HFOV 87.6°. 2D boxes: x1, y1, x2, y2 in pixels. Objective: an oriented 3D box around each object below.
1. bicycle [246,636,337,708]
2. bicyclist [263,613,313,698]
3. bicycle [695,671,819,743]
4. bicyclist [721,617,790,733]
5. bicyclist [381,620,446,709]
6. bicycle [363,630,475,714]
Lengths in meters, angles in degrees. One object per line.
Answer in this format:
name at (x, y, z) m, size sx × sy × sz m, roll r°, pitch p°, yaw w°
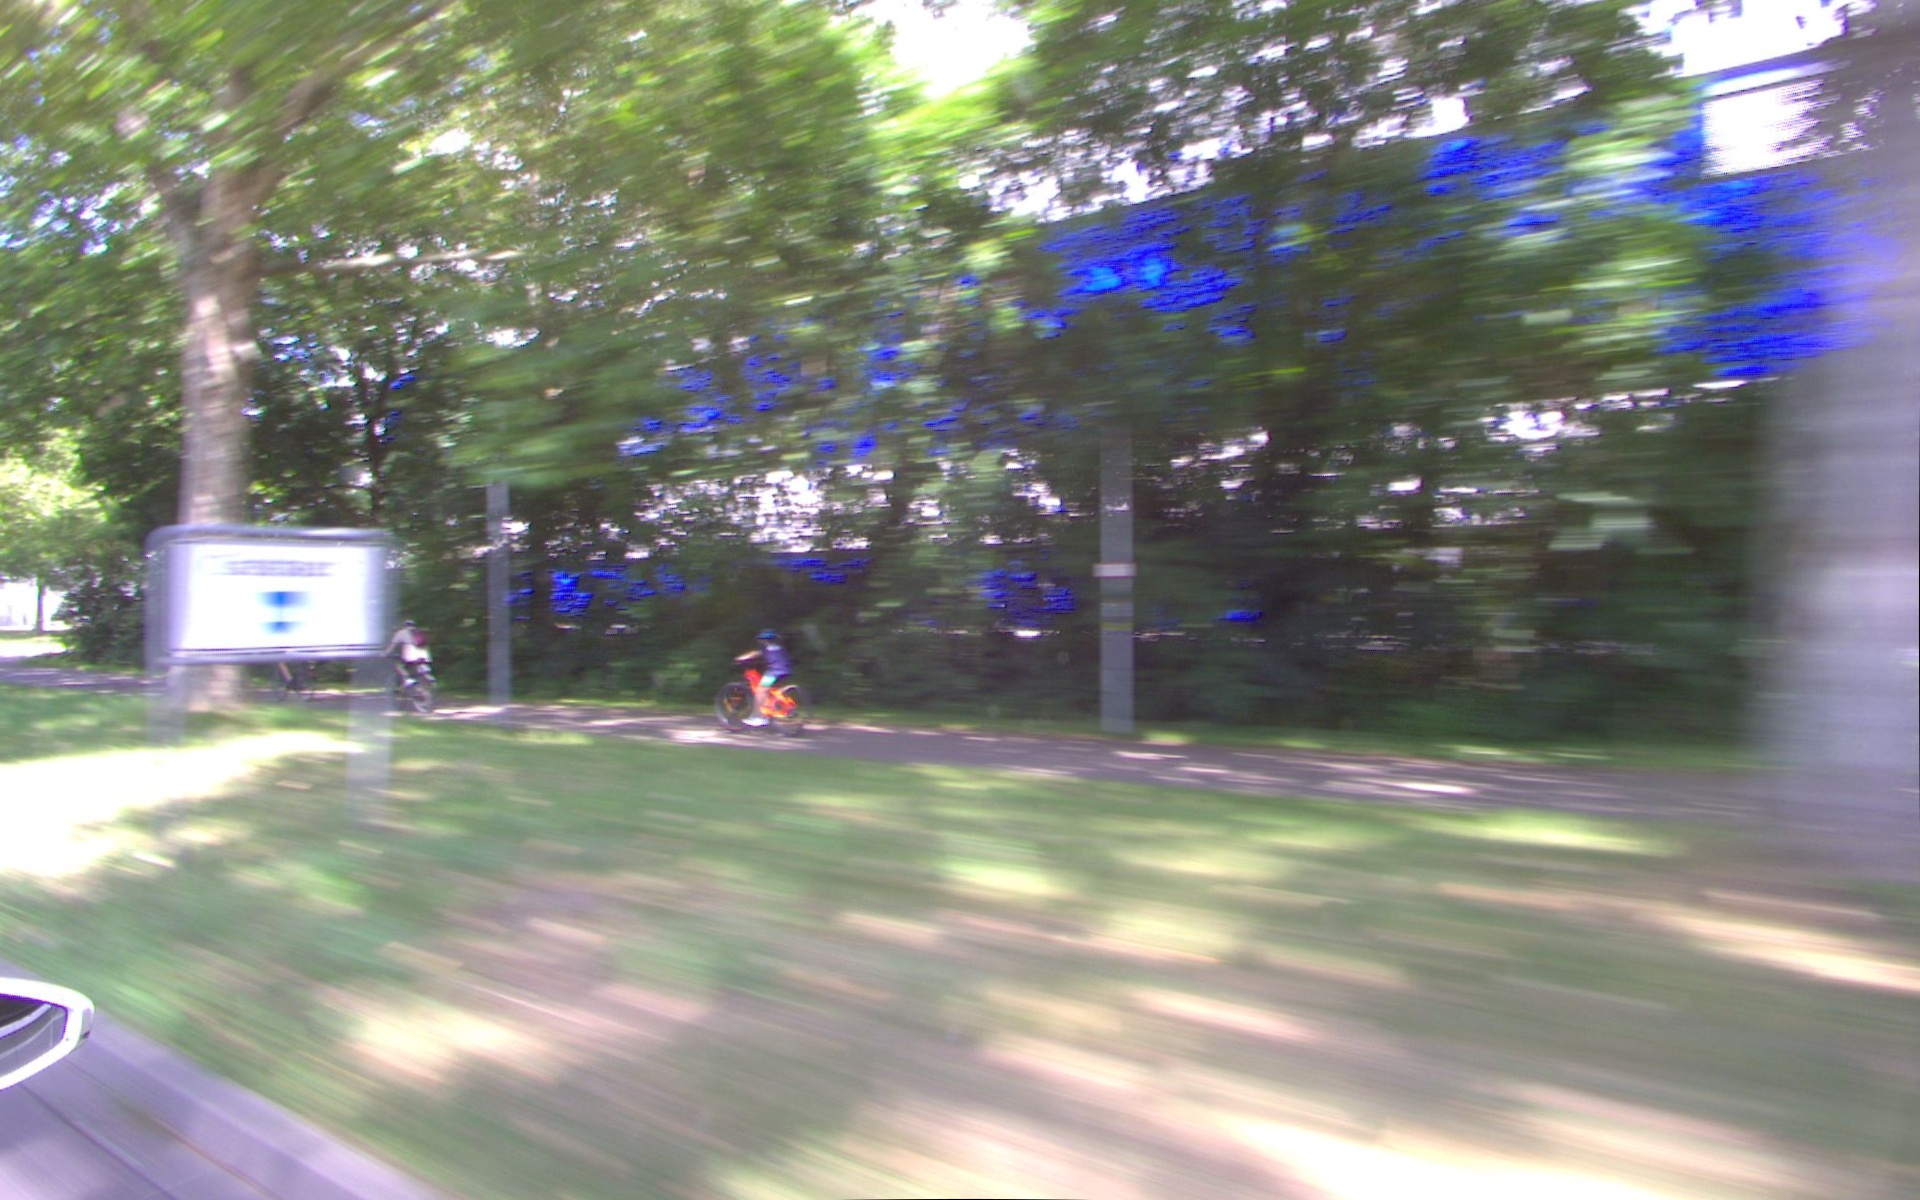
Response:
bicycle at (-14.417, 1.524, 21.560) m, size 2.623 × 1.438 × 0.609 m, roll 0°, pitch 0°, yaw 32°
bicyclist at (-14.391, 1.170, 21.447) m, size 0.831 × 1.768 × 0.596 m, roll 0°, pitch 0°, yaw 32°
bicycle at (-2.976, 1.525, 14.568) m, size 1.998 × 0.898 × 0.643 m, roll -1°, pitch -1°, yaw 38°
bicyclist at (-2.973, 1.063, 14.556) m, size 0.806 × 1.631 × 0.620 m, roll 0°, pitch 0°, yaw 38°
bicyclist at (-10.184, 1.180, 18.665) m, size 1.038 × 1.620 × 0.657 m, roll 0°, pitch 0°, yaw 33°
bicycle at (-10.066, 1.294, 18.588) m, size 2.623 × 1.438 × 0.609 m, roll 0°, pitch 0°, yaw 32°
